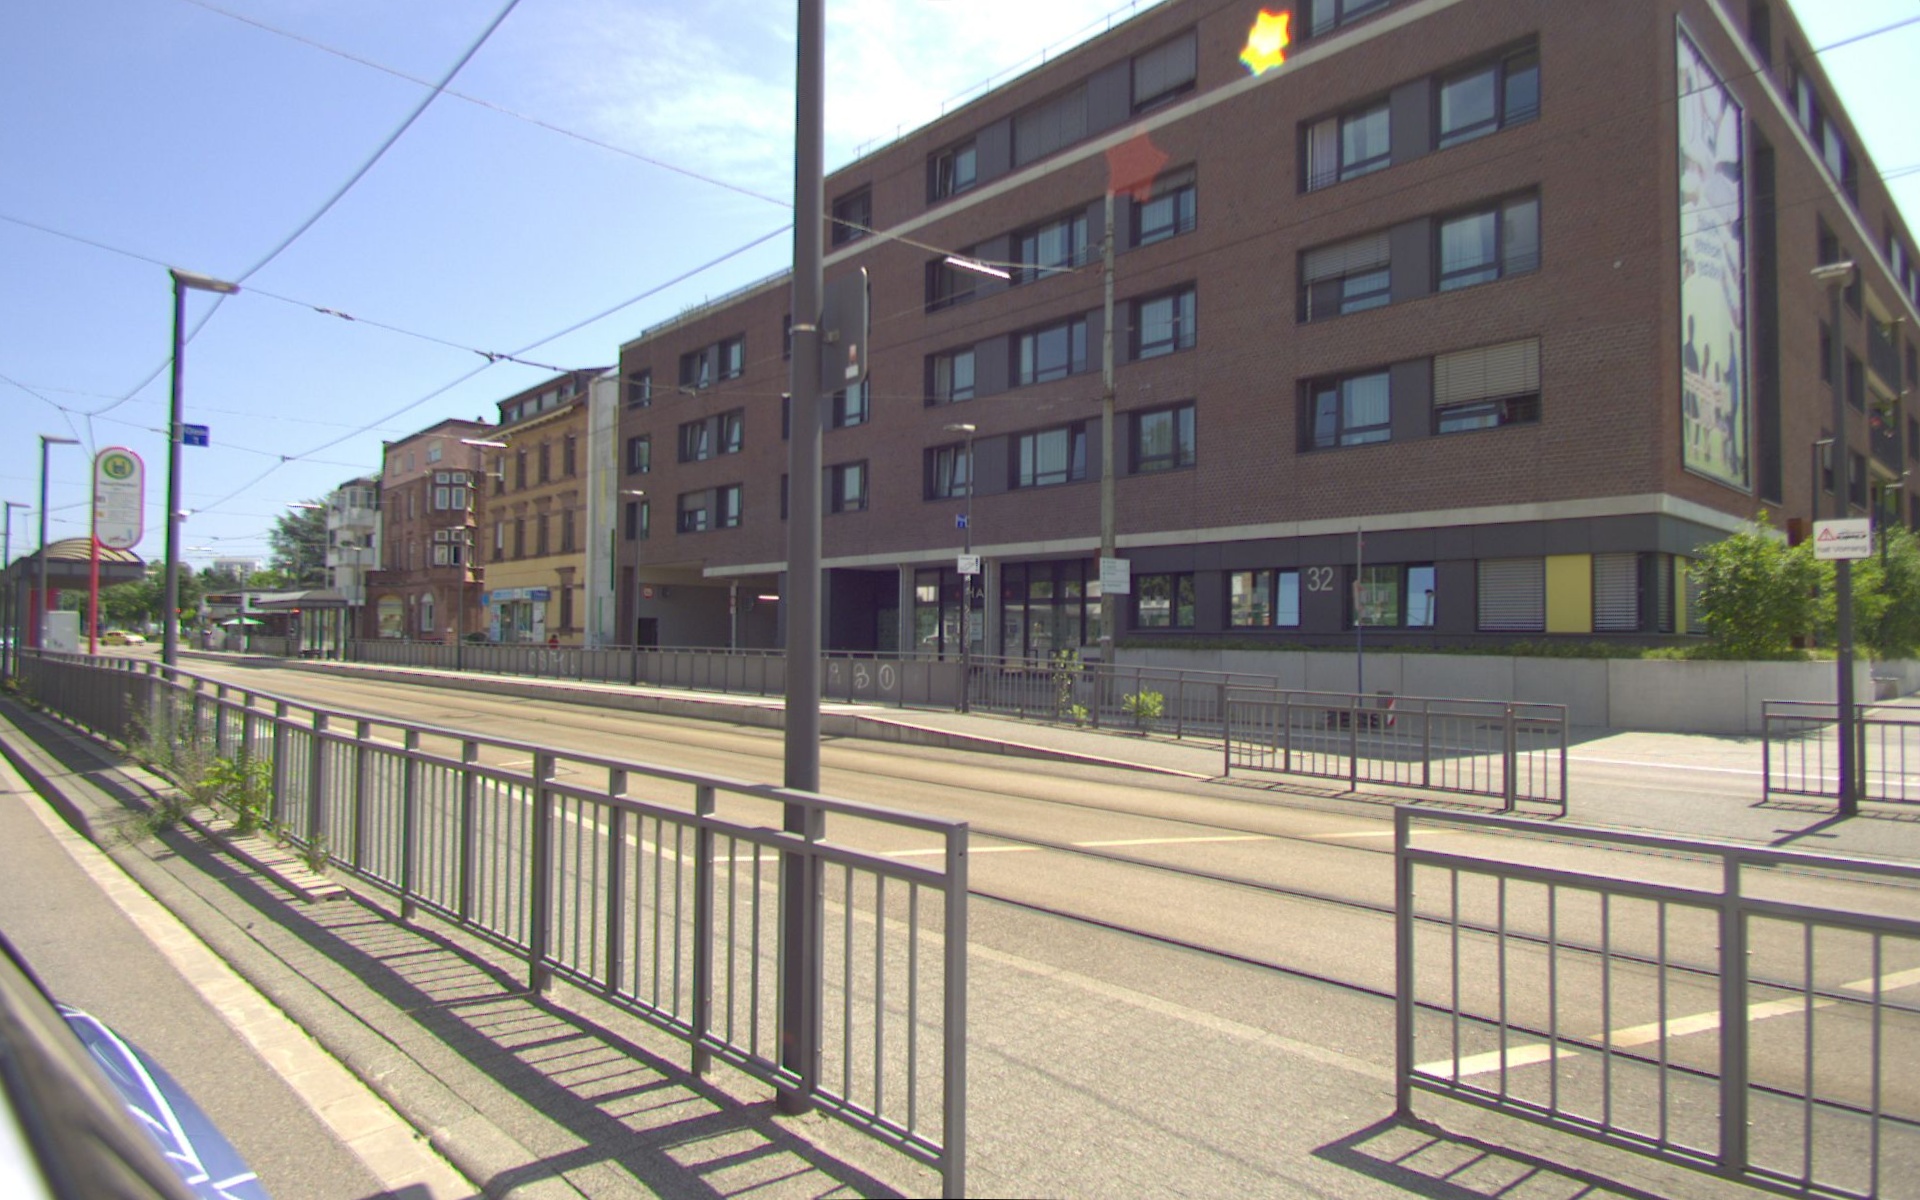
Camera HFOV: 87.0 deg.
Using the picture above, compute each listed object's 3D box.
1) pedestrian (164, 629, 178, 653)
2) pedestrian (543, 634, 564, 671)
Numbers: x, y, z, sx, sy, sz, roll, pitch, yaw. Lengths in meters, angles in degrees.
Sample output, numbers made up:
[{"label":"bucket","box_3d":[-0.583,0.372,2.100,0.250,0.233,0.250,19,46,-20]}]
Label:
[{"label":"pedestrian","box_3d":[-54.376,2.824,69.737,0.589,1.637,0.677,4,-4,-45]},{"label":"pedestrian","box_3d":[-18.096,2.329,45.044,0.715,1.608,0.596,-2,-3,43]}]
